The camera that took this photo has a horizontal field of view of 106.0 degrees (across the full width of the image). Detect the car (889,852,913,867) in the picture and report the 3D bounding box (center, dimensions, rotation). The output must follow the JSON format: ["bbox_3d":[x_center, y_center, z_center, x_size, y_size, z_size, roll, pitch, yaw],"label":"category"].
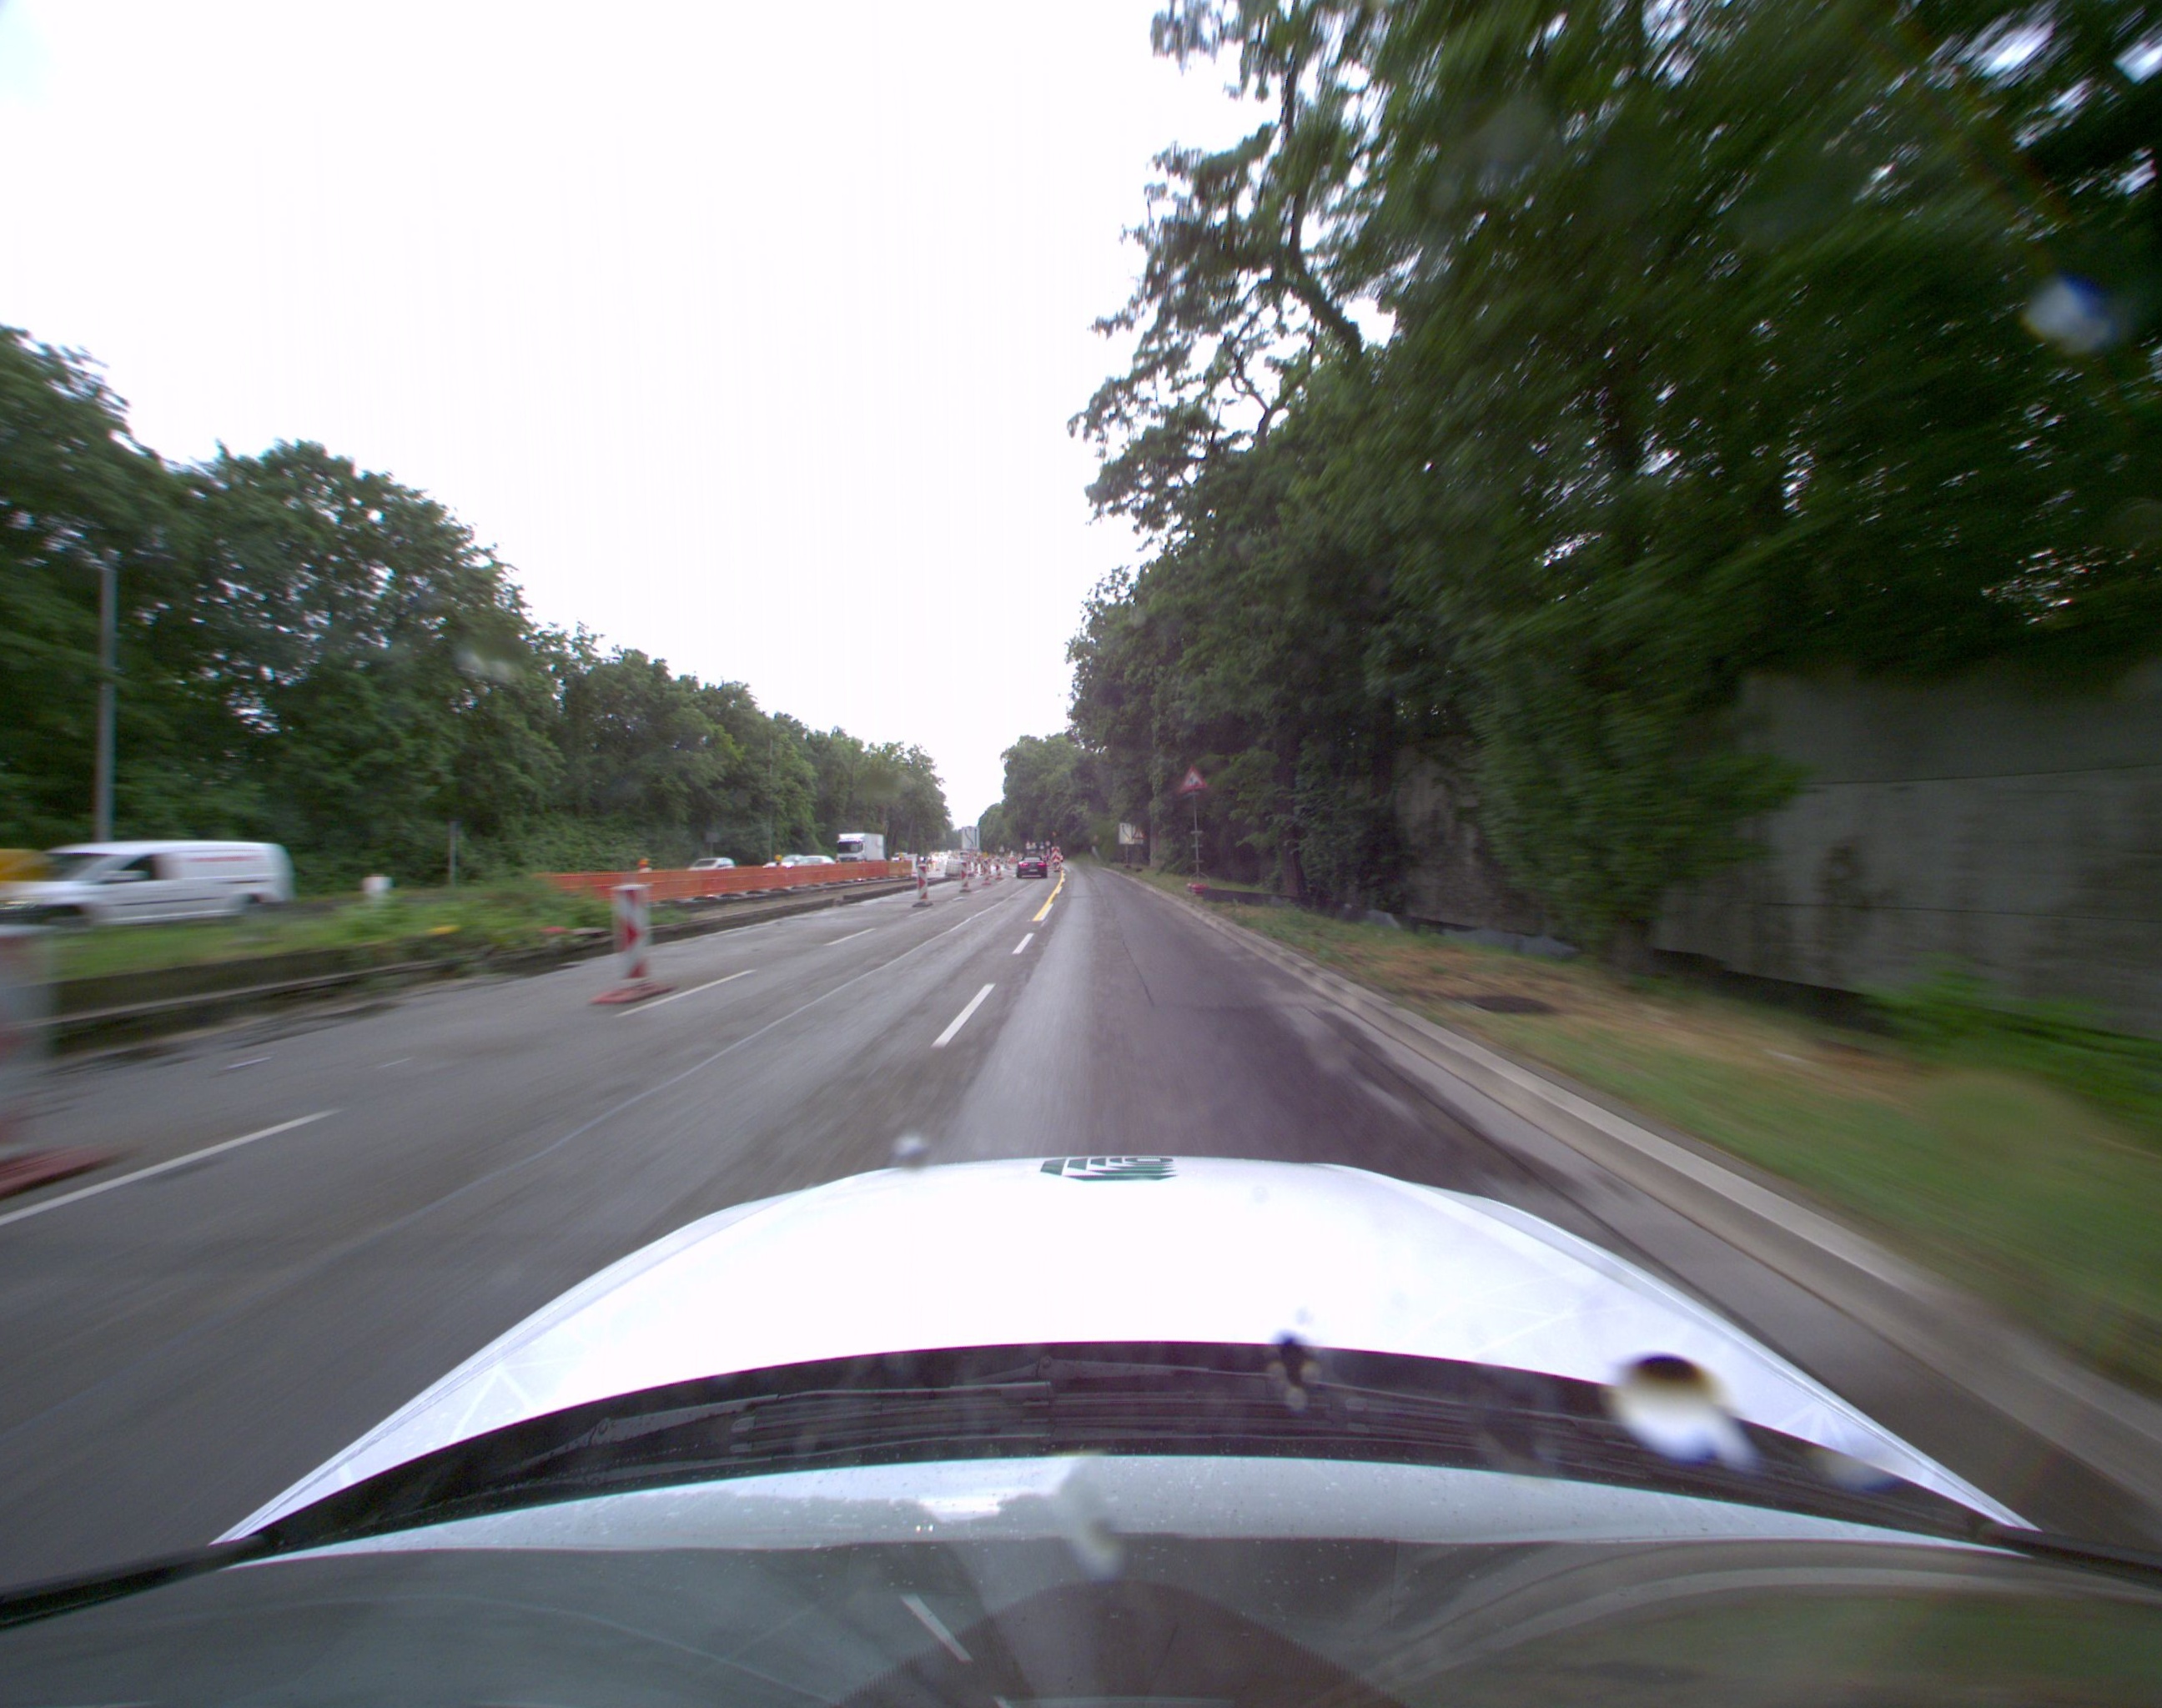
[{"bbox_3d":[-22.376,0.641,101.336,1.838,1.723,4.719,-4,0,1],"label":"car"}]

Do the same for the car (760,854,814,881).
[{"bbox_3d":[-18.222,0.800,50.717,1.829,1.550,4.040,-1,0,1],"label":"car"}]

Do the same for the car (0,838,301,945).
[{"bbox_3d":[-18.510,0.588,15.891,1.908,1.781,4.833,0,1,0],"label":"car"}]

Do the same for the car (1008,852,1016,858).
[{"bbox_3d":[-18.953,0.229,222.825,1.756,1.344,3.988,1,1,-9],"label":"car"}]

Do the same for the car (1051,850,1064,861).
[{"bbox_3d":[-3.840,0.235,132.576,1.910,1.598,4.827,0,1,-4],"label":"car"}]

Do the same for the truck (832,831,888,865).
[{"bbox_3d":[-21.298,-0.541,79.173,2.788,3.148,10.142,-1,0,-1],"label":"truck"}]

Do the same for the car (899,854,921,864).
[{"bbox_3d":[-19.332,0.562,92.161,1.600,1.152,4.283,-1,0,1],"label":"car"}]

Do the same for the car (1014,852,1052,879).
[{"bbox_3d":[-2.968,0.689,51.139,1.853,1.491,4.006,1,2,5],"label":"car"}]

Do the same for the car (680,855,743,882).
[{"bbox_3d":[-21.080,0.793,46.673,1.785,1.425,3.896,-1,0,1],"label":"car"}]

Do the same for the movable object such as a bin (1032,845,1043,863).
[{"bbox_3d":[-7.380,0.002,137.156,1.744,2.867,3.528,-1,0,-5],"label":"movable object such as a bin"}]

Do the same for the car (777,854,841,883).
[{"bbox_3d":[-15.016,0.767,45.190,1.849,1.486,4.680,-1,0,1],"label":"car"}]

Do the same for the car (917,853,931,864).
[{"bbox_3d":[-25.922,0.742,134.684,1.631,1.647,4.197,-2,0,-1],"label":"car"}]
